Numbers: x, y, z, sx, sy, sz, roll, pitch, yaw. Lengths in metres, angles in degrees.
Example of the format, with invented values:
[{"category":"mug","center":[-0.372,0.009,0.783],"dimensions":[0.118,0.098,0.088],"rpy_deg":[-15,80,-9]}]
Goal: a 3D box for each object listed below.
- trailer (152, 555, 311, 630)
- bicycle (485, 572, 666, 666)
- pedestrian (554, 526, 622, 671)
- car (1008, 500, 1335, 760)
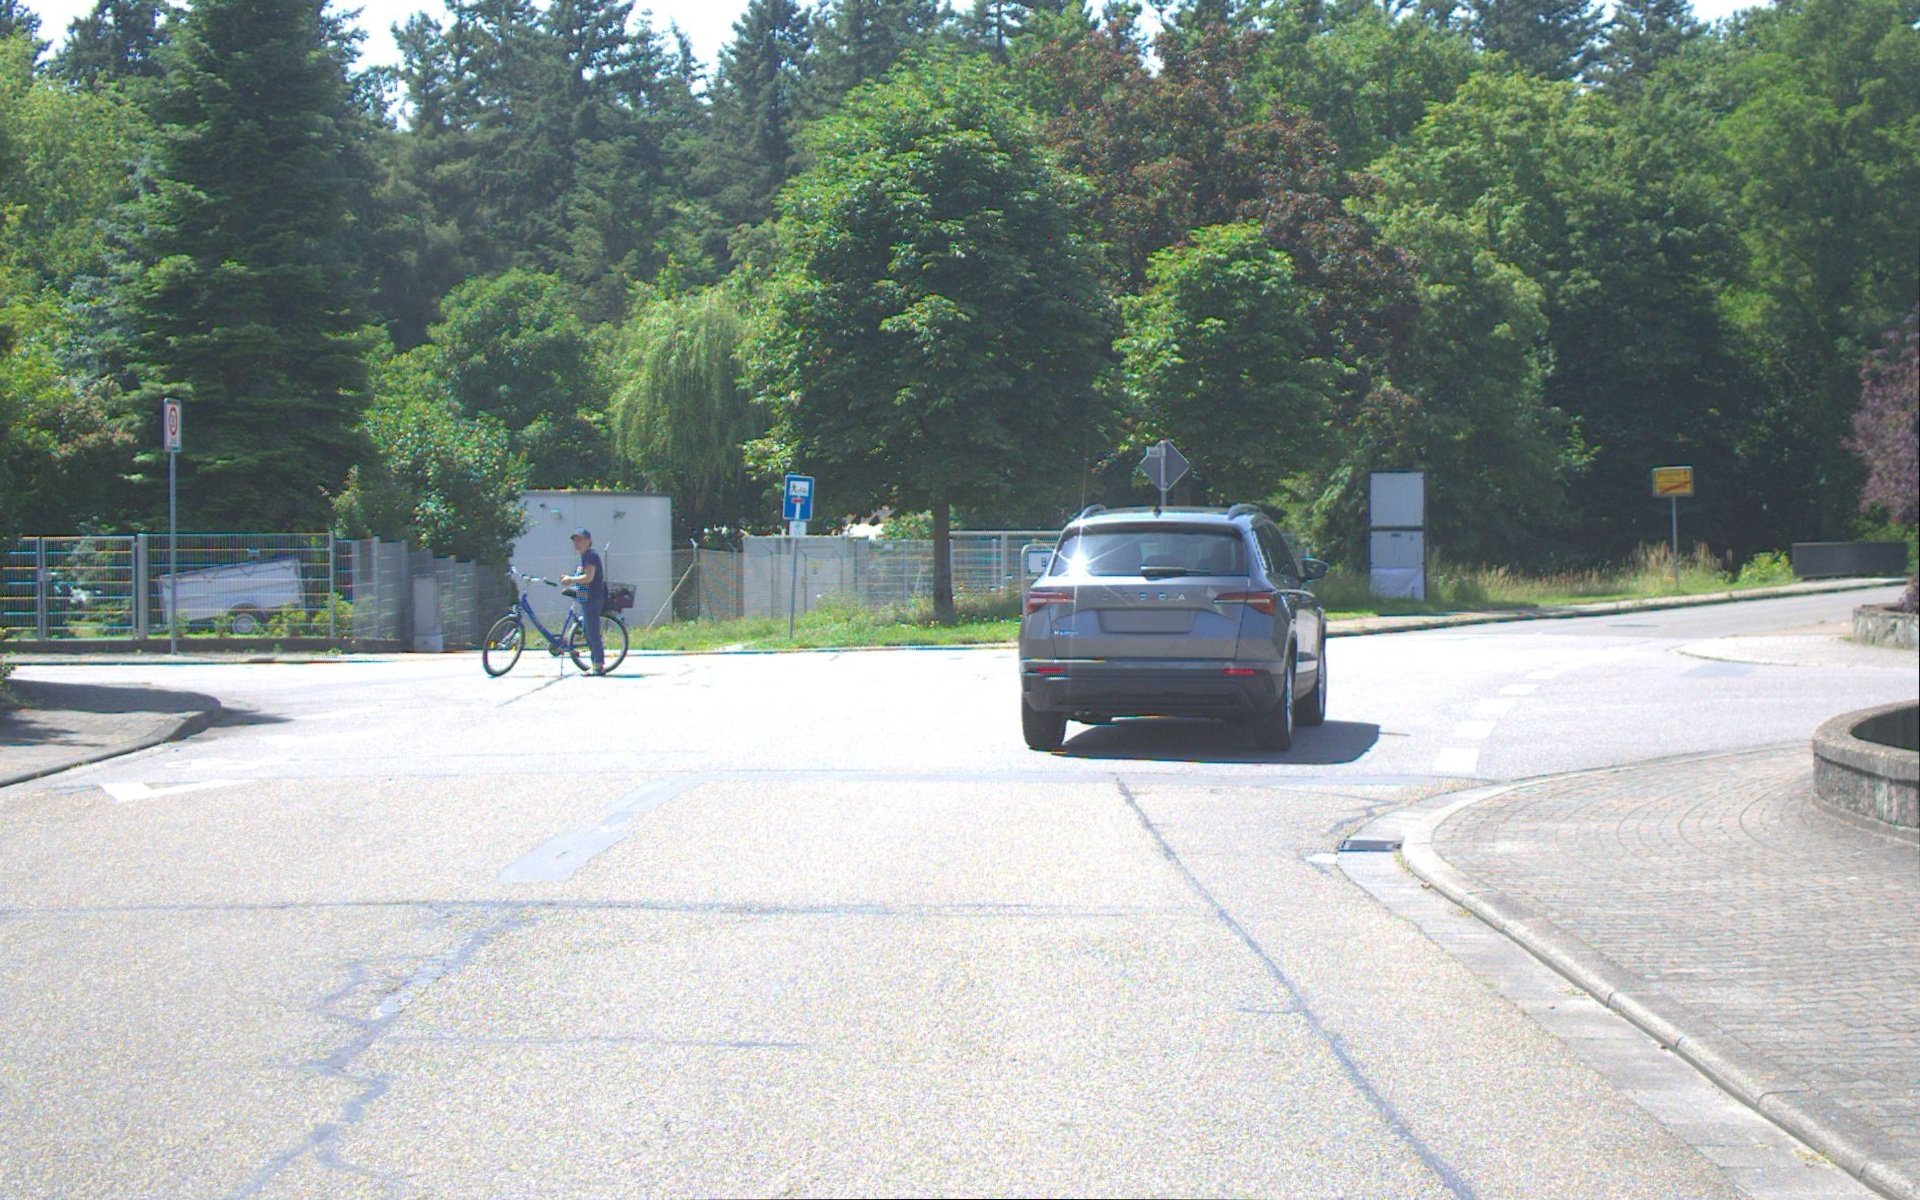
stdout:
[{"category":"trailer","center":[-10.778,-0.123,50.941],"dimensions":[2.214,1.080,1.106],"rpy_deg":[0,1,-8]},{"category":"bicycle","center":[-4.052,0.193,36.228],"dimensions":[1.842,0.960,0.443],"rpy_deg":[-1,1,-18]},{"category":"pedestrian","center":[-3.883,-0.021,35.850],"dimensions":[0.610,1.495,0.504],"rpy_deg":[-1,1,-18]},{"category":"car","center":[1.552,0.153,23.859],"dimensions":[1.763,1.612,3.998],"rpy_deg":[1,1,10]}]
